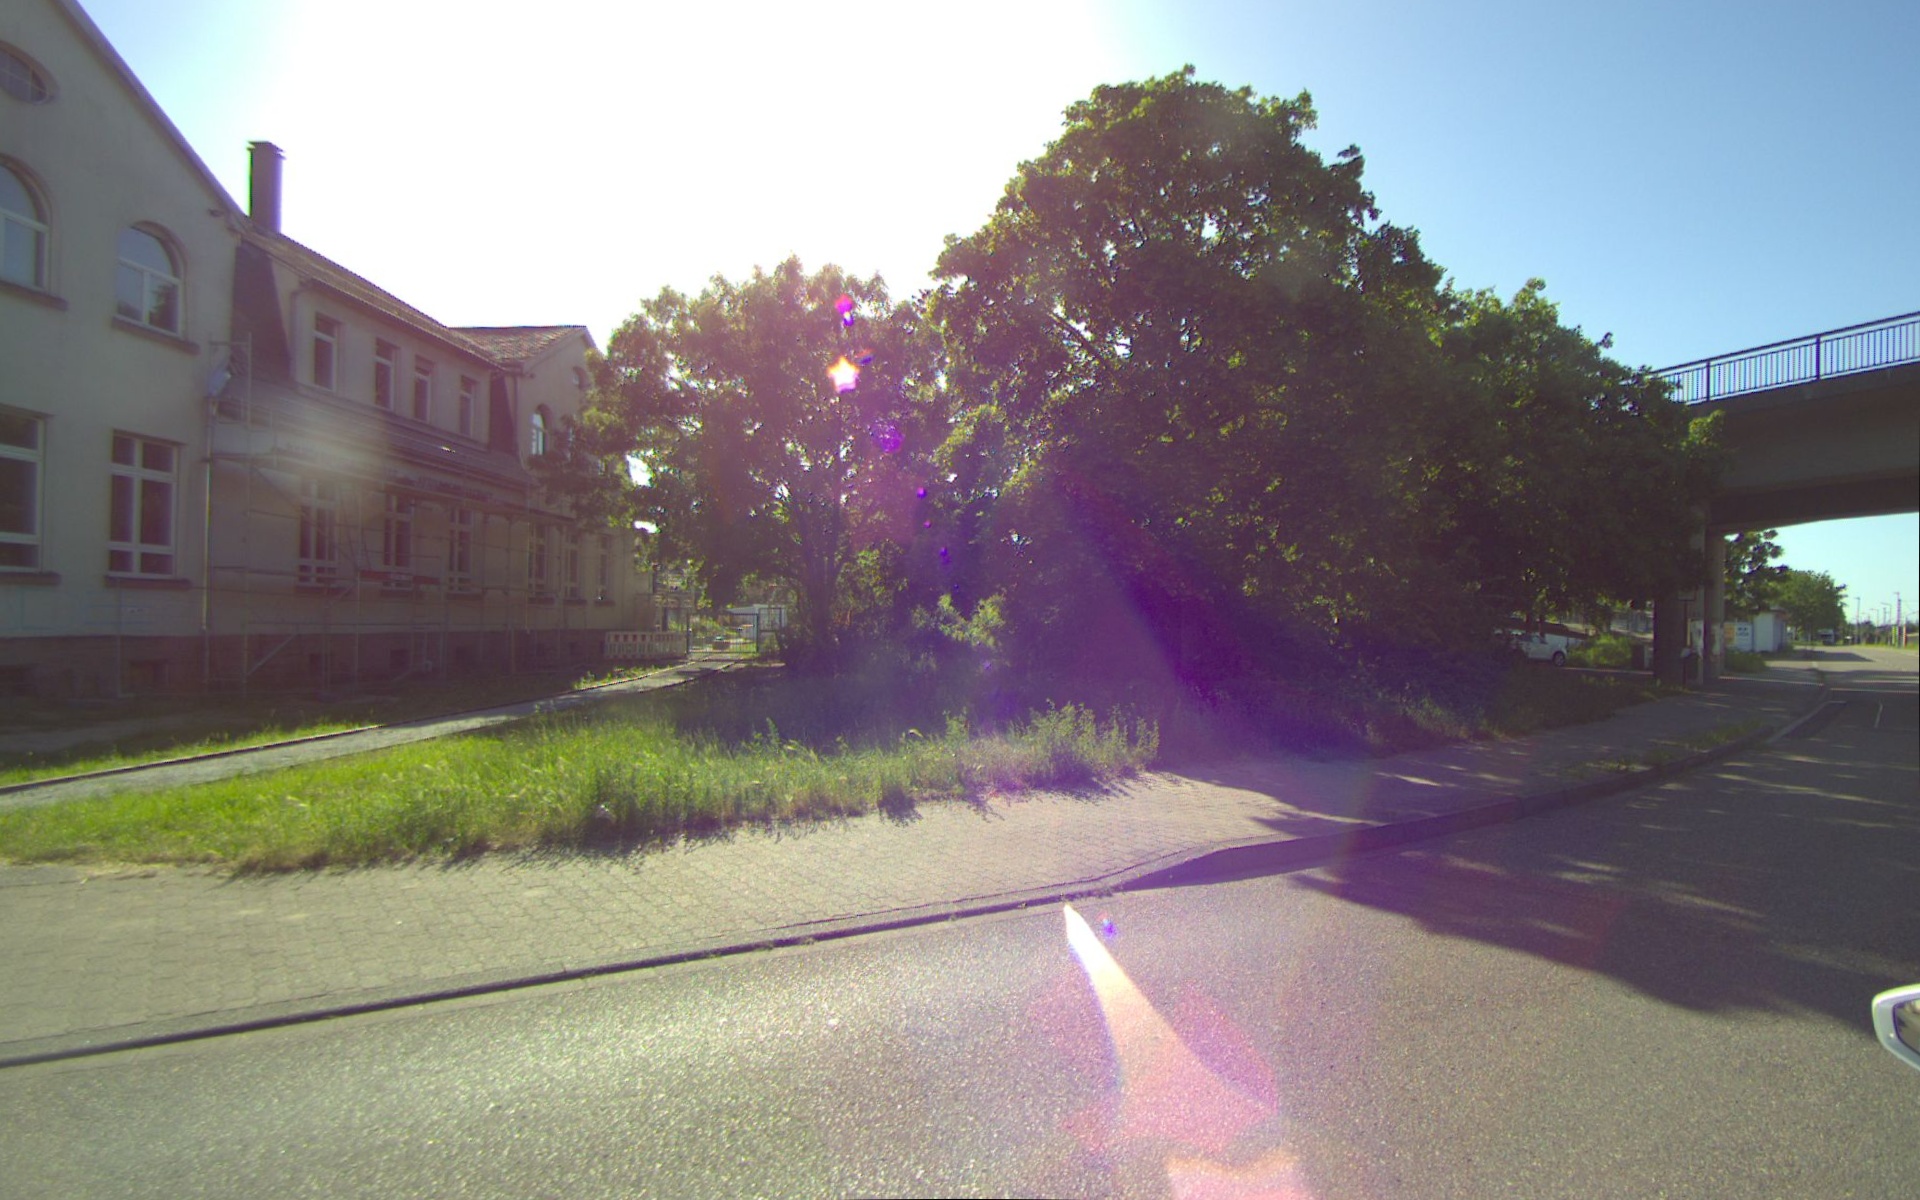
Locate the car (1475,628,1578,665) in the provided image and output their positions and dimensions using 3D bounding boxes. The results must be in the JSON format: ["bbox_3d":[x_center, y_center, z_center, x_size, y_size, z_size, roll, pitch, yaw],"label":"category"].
[{"bbox_3d":[27.668,2.287,49.086,4.210,1.662,1.865,0,-4,-15],"label":"car"}]
